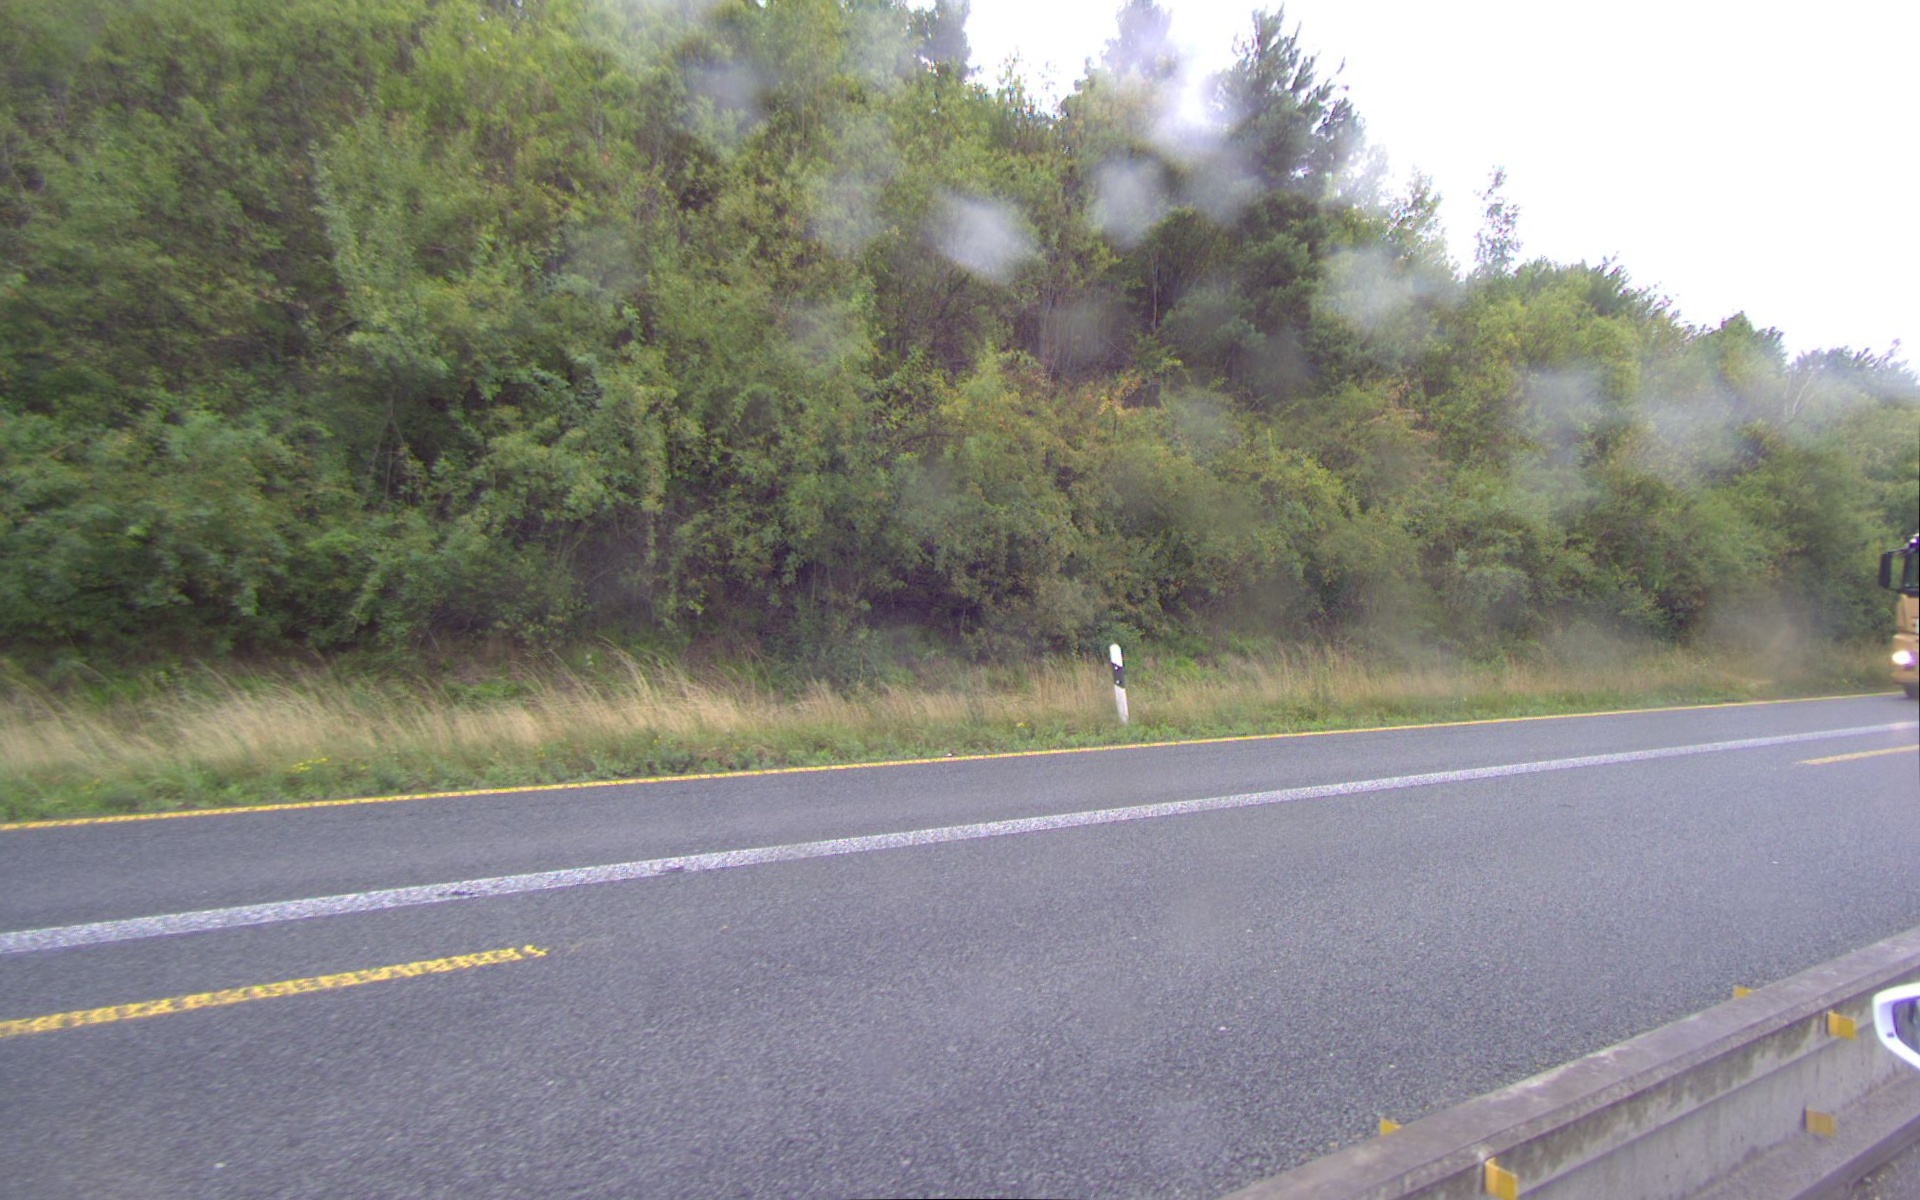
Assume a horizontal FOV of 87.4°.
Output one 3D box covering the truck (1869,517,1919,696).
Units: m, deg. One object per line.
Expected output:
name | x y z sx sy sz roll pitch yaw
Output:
truck | 23.494 0.279 21.577 11.912 3.397 2.522 2 0 -31
